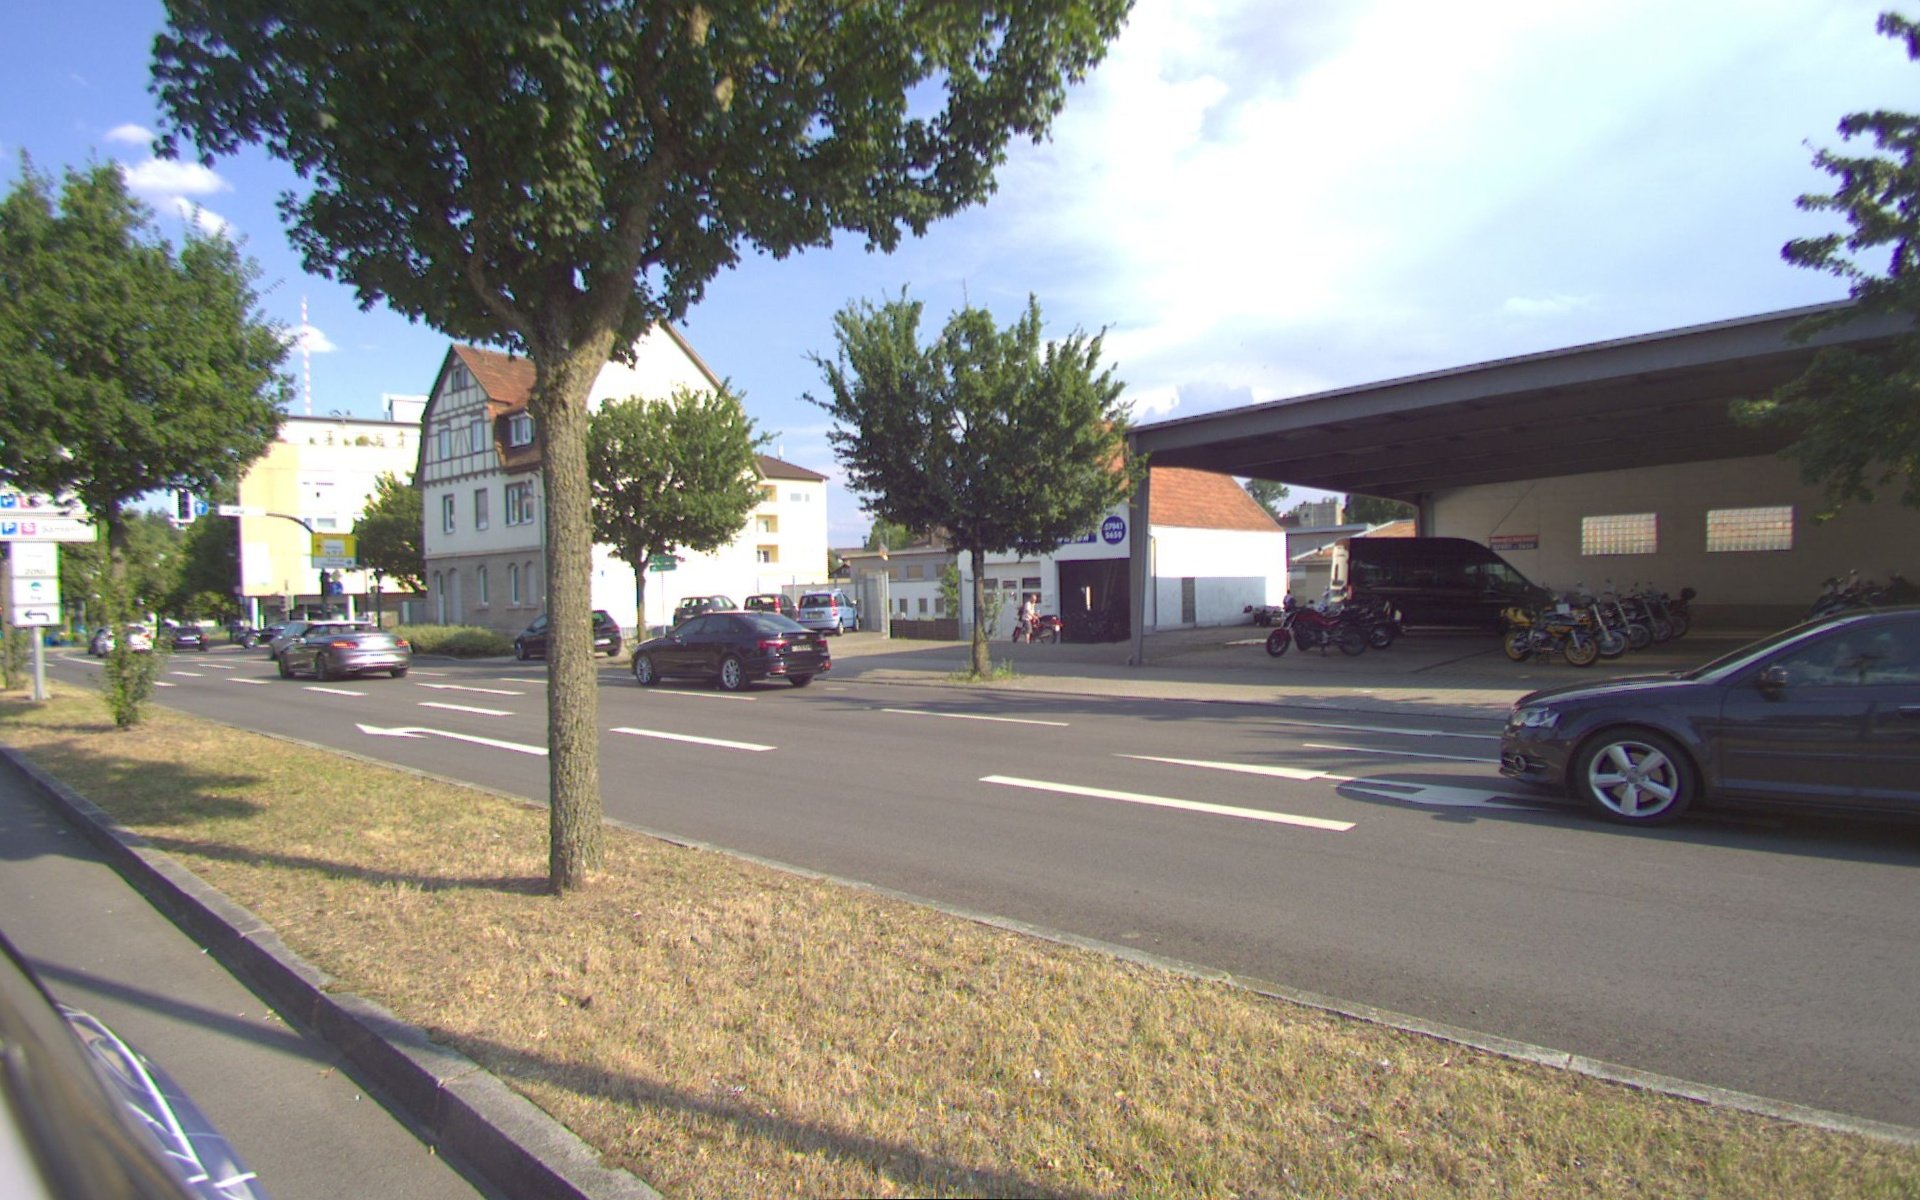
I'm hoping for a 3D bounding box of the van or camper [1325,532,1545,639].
[{"bbox_3d":[12.816,-0.360,27.598,4.979,2.700,1.995,-1,0,8],"label":"van or camper"}]

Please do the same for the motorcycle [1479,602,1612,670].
[{"bbox_3d":[10.433,0.607,18.133,0.620,1.132,2.161,-1,0,-19],"label":"motorcycle"}]

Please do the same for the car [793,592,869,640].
[{"bbox_3d":[-4.478,0.541,35.718,1.746,1.564,3.992,-1,0,7],"label":"car"}]

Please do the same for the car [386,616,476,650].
[{"bbox_3d":[-33.286,2.054,63.792,1.819,1.938,4.901,-1,0,26],"label":"car"}]

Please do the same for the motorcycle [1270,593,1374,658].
[{"bbox_3d":[7.544,0.544,21.190,1.991,1.321,0.665,-1,0,18],"label":"motorcycle"}]

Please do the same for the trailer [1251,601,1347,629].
[{"bbox_3d":[12.503,0.533,37.257,2.449,0.831,3.152,-1,2,38],"label":"trailer"}]

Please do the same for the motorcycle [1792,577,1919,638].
[{"bbox_3d":[19.902,0.175,22.531,2.068,1.317,0.561,-1,0,12],"label":"motorcycle"}]

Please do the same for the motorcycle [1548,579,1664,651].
[{"bbox_3d":[13.801,0.307,21.703,0.584,1.459,2.161,-1,0,-19],"label":"motorcycle"}]

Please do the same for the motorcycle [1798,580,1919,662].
[{"bbox_3d":[15.261,0.341,16.762,2.068,1.317,0.561,-1,0,12],"label":"motorcycle"}]

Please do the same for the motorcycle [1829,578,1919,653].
[{"bbox_3d":[17.089,0.273,18.261,2.068,1.317,0.621,-1,0,12],"label":"motorcycle"}]

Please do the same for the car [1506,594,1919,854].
[{"bbox_3d":[5.776,0.668,6.054,4.186,1.397,1.629,-1,0,40],"label":"car"}]

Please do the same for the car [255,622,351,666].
[{"bbox_3d":[-24.032,1.576,36.954,4.708,1.473,1.669,-1,0,40],"label":"car"}]

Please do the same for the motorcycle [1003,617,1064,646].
[{"bbox_3d":[2.395,1.033,33.360,2.212,0.927,0.500,-1,0,45],"label":"motorcycle"}]

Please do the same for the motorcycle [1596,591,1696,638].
[{"bbox_3d":[17.195,0.356,25.440,0.553,1.131,2.161,-1,0,-19],"label":"motorcycle"}]

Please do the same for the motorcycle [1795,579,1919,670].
[{"bbox_3d":[13.877,0.362,15.134,2.093,1.317,0.561,-1,0,12],"label":"motorcycle"}]

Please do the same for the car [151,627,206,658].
[{"bbox_3d":[-42.302,2.269,54.772,4.247,1.508,1.787,-1,0,44],"label":"car"}]

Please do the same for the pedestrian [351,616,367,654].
[{"bbox_3d":[-32.448,1.895,54.649,0.688,1.997,0.590,-1,0,-23],"label":"pedestrian"}]

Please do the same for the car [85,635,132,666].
[{"bbox_3d":[-44.509,2.600,52.950,1.746,1.462,4.116,-1,-1,-39],"label":"car"}]

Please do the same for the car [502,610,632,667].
[{"bbox_3d":[-11.750,1.120,30.159,4.193,1.454,1.816,-1,3,41],"label":"car"}]

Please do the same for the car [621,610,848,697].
[{"bbox_3d":[-4.381,0.940,19.251,4.642,1.432,1.824,-1,0,41],"label":"car"}]

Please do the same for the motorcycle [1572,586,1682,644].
[{"bbox_3d":[15.427,0.342,23.484,0.636,1.268,2.161,-1,0,-19],"label":"motorcycle"}]

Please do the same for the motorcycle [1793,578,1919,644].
[{"bbox_3d":[18.823,0.233,21.186,2.068,1.317,0.561,-1,0,12],"label":"motorcycle"}]

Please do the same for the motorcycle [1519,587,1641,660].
[{"bbox_3d":[12.105,0.439,19.846,0.553,1.340,2.161,-1,0,-19],"label":"motorcycle"}]

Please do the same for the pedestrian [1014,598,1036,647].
[{"bbox_3d":[2.102,0.722,32.859,0.644,1.535,0.674,-1,0,0],"label":"pedestrian"}]

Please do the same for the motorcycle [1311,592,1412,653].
[{"bbox_3d":[9.013,0.499,22.774,1.982,1.321,0.649,-1,0,5],"label":"motorcycle"}]

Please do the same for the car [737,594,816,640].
[{"bbox_3d":[-6.700,0.598,37.338,1.746,1.564,3.992,-1,0,7],"label":"car"}]

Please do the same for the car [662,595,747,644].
[{"bbox_3d":[-9.432,0.684,37.685,1.746,1.563,3.992,-2,1,7],"label":"car"}]

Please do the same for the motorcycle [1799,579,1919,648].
[{"bbox_3d":[17.958,0.267,19.998,2.068,1.317,0.581,-1,0,12],"label":"motorcycle"}]

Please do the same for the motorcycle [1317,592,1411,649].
[{"bbox_3d":[9.780,0.490,24.554,1.982,1.321,0.649,-1,0,5],"label":"motorcycle"}]

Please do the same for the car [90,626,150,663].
[{"bbox_3d":[-37.699,1.972,45.396,1.780,1.508,3.958,-1,0,-44],"label":"car"}]

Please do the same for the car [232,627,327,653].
[{"bbox_3d":[-41.106,2.378,61.158,4.594,1.364,1.770,-1,0,-41],"label":"car"}]

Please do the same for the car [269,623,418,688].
[{"bbox_3d":[-14.741,1.251,24.099,4.476,1.359,1.762,-1,0,41],"label":"car"}]
